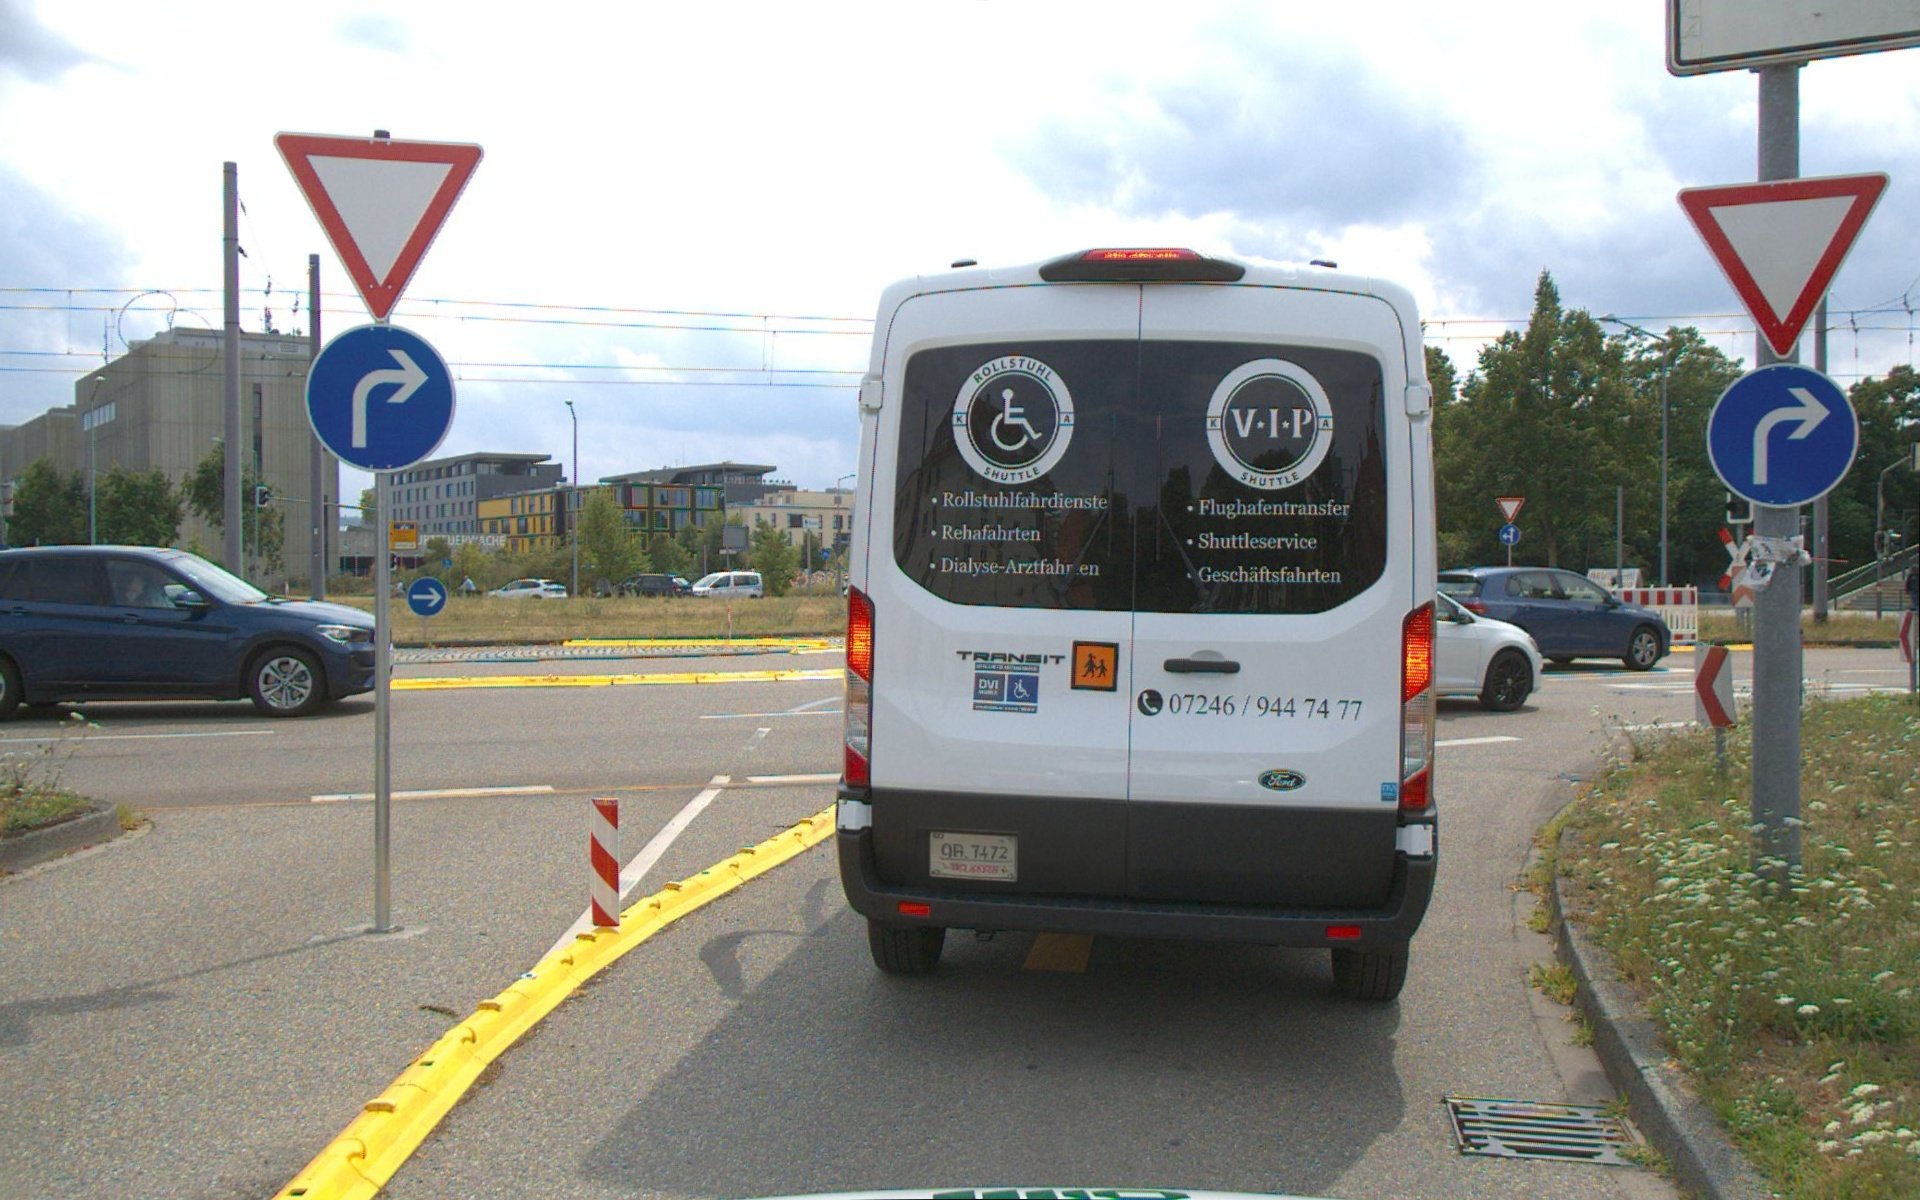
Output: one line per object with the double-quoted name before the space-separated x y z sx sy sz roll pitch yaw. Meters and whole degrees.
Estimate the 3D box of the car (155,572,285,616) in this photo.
"car" -29.035 -0.249 64.976 1.905 1.695 4.327 0 1 43

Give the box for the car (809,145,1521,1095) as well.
"car" 0.905 0.033 7.692 2.081 2.744 5.636 0 1 7

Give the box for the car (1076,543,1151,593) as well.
"car" 7.267 -1.514 78.721 1.995 2.319 4.134 0 1 -20

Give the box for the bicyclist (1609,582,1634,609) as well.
"bicyclist" 21.957 -0.140 54.916 0.645 0.899 0.604 0 -1 37

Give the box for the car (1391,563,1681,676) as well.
"car" 8.441 0.231 24.182 4.058 1.523 1.785 -1 1 -29

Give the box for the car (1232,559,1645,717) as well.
"car" 5.163 0.335 17.788 4.194 1.523 1.787 -1 1 -26

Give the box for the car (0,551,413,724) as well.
"car" -7.677 0.319 16.056 4.279 1.560 1.728 0 1 -11

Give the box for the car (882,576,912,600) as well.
"car" -3.955 -0.760 104.145 1.790 1.489 3.999 0 0 -1

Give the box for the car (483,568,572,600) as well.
"car" -21.033 -0.779 80.448 3.905 1.489 1.833 0 -1 22

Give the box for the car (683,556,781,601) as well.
"car" -11.030 -0.997 80.016 4.298 2.049 1.981 1 -1 -29

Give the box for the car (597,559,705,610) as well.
"car" -12.800 -0.623 68.634 3.903 2.049 2.001 0 -1 17

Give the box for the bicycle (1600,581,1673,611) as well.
"bicycle" 22.321 -0.135 54.626 2.162 0.954 0.611 0 -1 38
